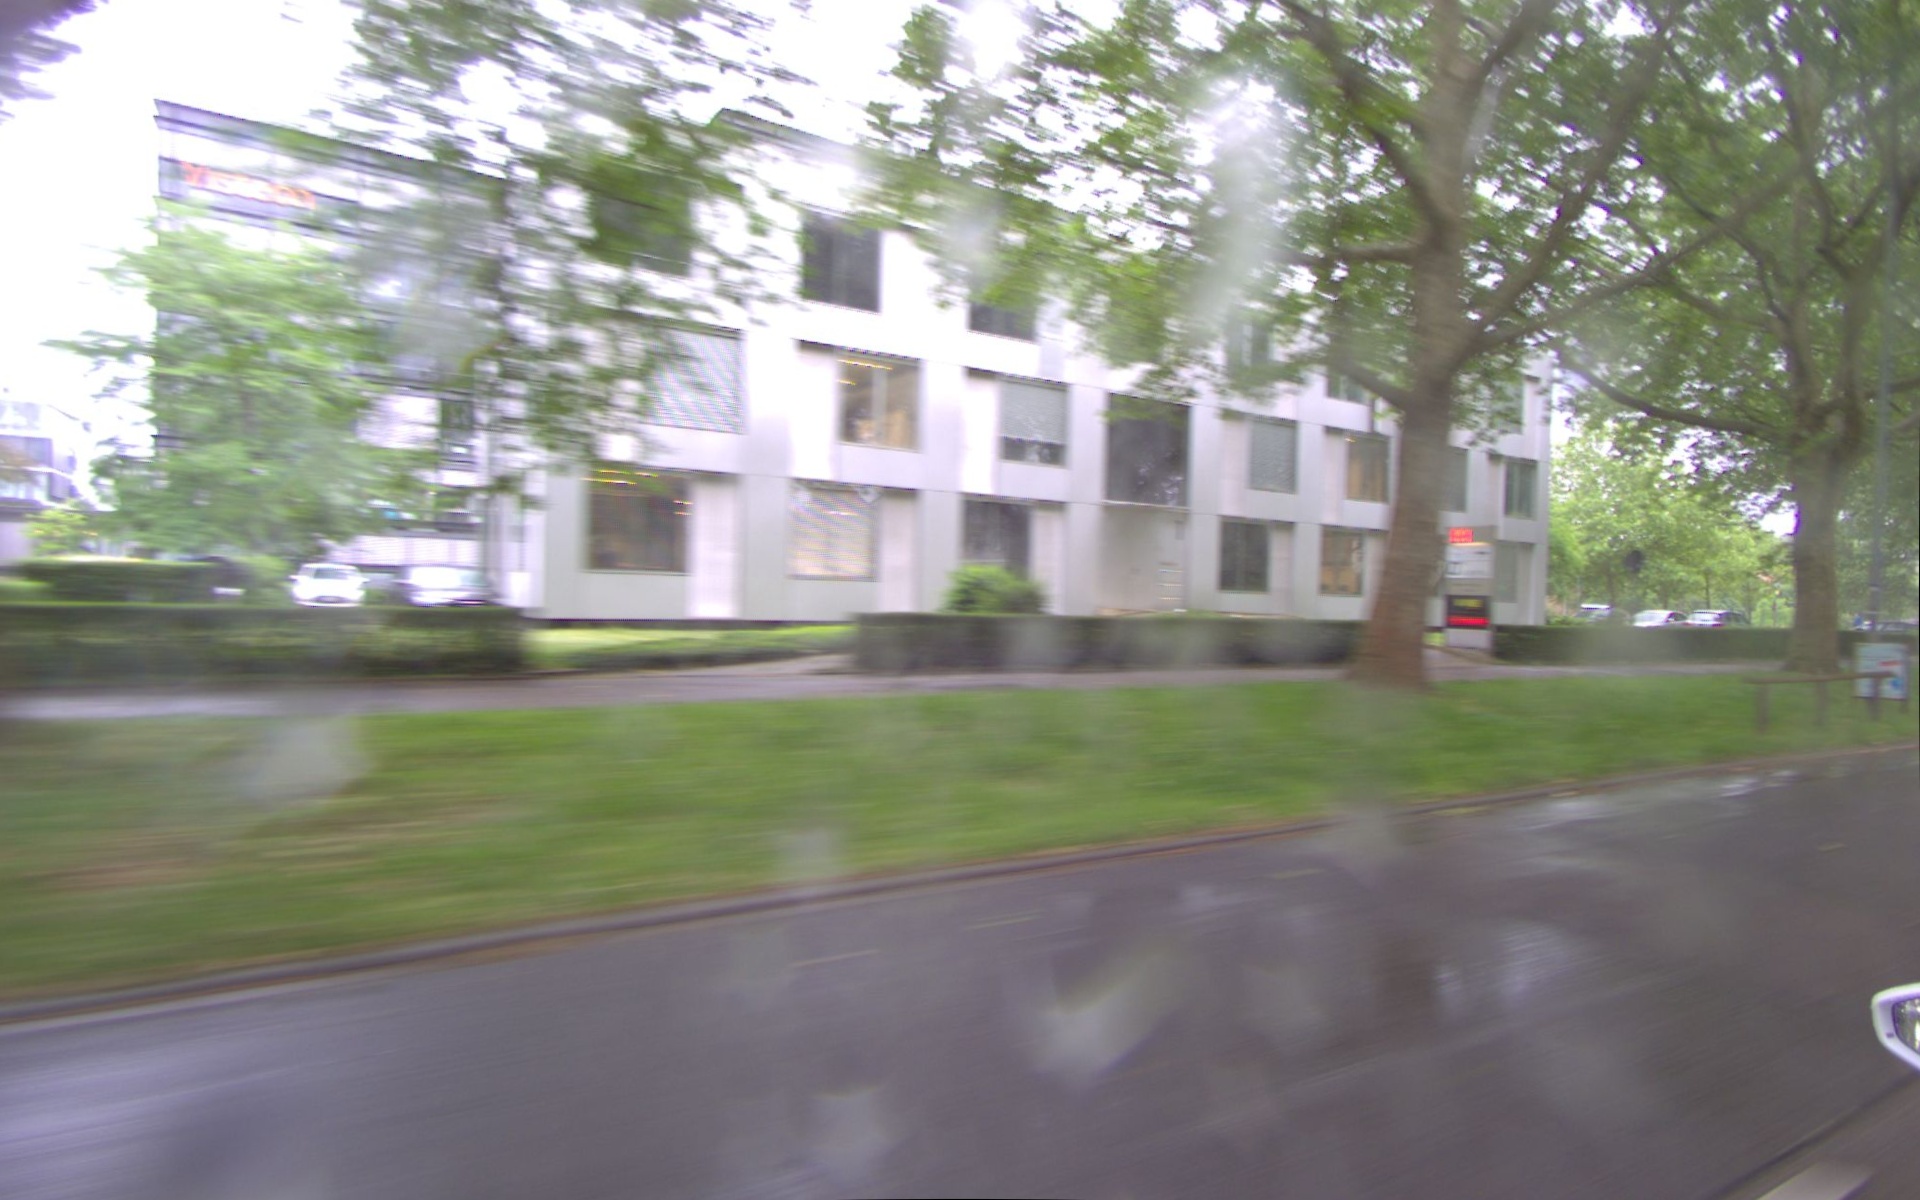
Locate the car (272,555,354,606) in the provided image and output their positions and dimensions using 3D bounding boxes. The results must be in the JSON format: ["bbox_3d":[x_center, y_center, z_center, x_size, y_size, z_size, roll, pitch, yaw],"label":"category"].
[{"bbox_3d":[-20.195,-0.639,31.490,1.977,1.440,4.049,1,2,-31],"label":"car"}]

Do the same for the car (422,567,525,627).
[{"bbox_3d":[-10.954,-0.107,22.470,1.769,1.172,3.966,1,2,-30],"label":"car"}]

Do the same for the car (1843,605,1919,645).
[{"bbox_3d":[41.548,1.095,43.917,1.976,1.644,3.968,1,1,-30],"label":"car"}]

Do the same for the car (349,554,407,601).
[{"bbox_3d":[-23.313,-0.910,40.236,1.889,1.750,4.049,1,2,-31],"label":"car"}]

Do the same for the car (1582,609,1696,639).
[{"bbox_3d":[31.844,1.109,47.193,1.977,1.150,3.967,1,2,-30],"label":"car"}]
